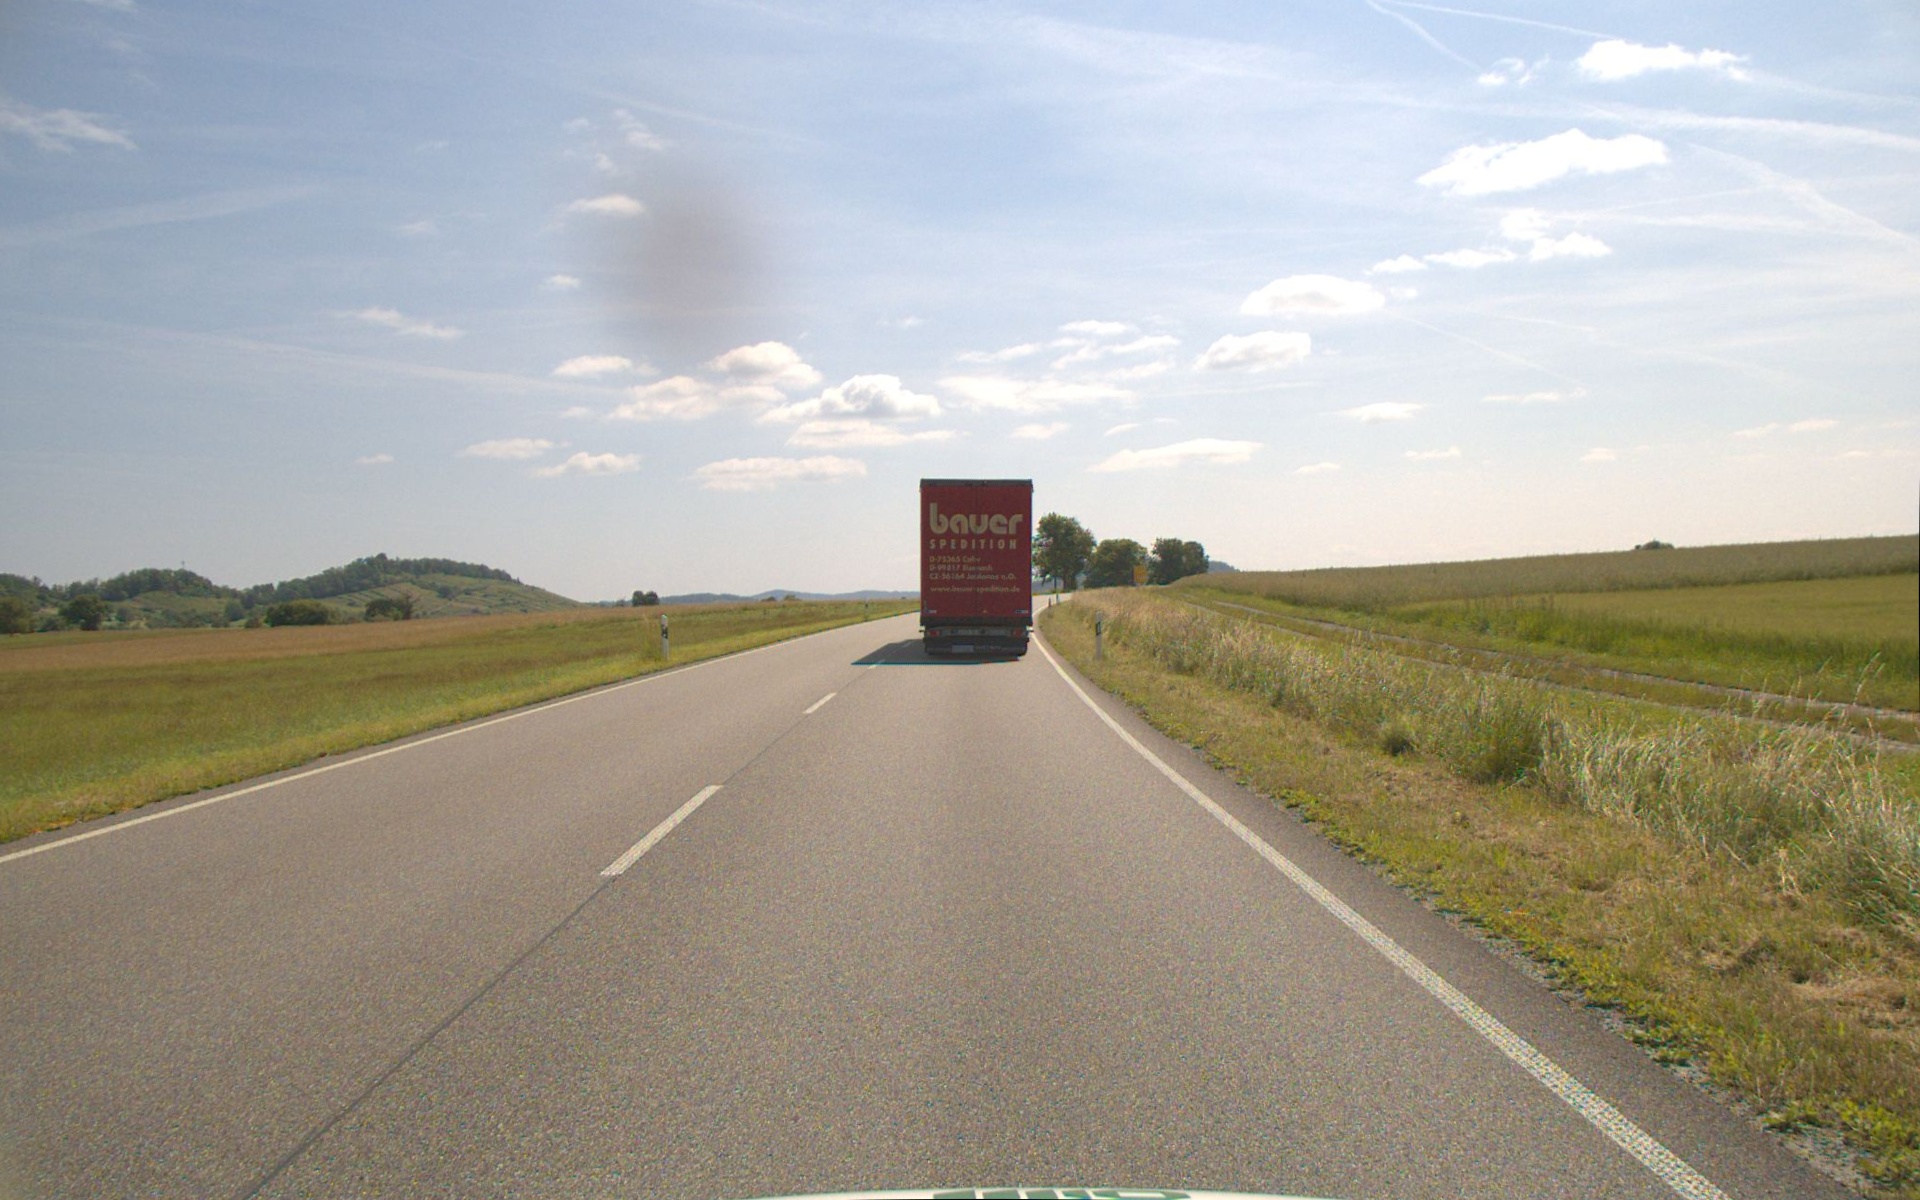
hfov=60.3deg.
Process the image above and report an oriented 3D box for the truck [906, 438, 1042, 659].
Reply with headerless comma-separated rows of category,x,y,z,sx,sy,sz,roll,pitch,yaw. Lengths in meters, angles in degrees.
truck,0.428,-1.155,40.881,2.914,4.795,9.367,1,0,1
